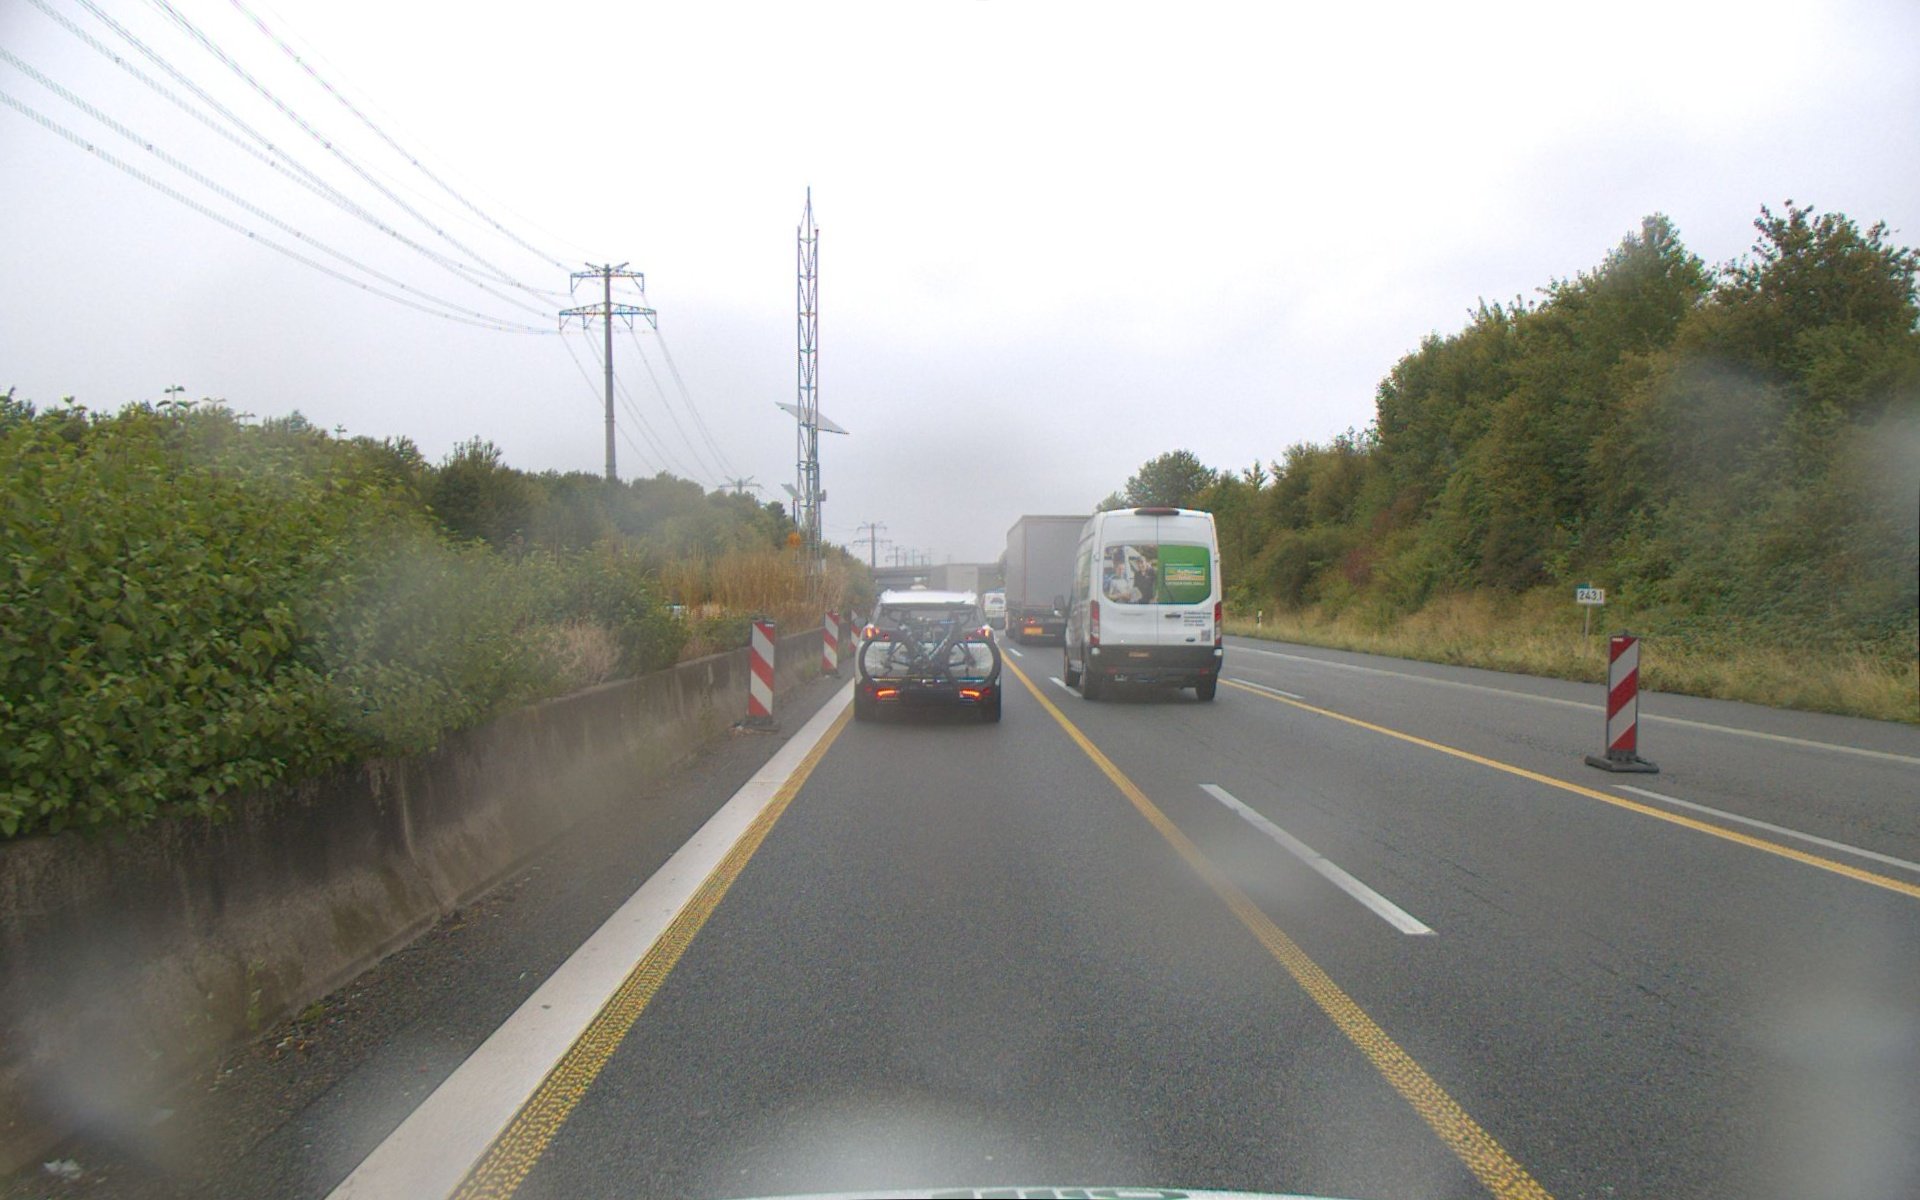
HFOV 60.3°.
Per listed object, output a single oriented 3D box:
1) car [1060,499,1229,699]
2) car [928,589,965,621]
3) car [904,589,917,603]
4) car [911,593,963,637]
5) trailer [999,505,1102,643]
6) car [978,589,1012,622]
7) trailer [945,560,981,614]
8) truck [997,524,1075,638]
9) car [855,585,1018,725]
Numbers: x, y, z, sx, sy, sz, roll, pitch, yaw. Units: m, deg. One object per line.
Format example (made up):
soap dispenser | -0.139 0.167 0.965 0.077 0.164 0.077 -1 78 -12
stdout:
car | 2.796 -0.025 26.388 1.953 2.831 5.755 0 0 -1
car | -0.709 0.246 83.439 1.812 1.557 3.999 0 0 -1
car | -7.721 -0.631 257.148 1.892 2.008 4.000 0 1 -1
car | -0.840 0.535 60.321 1.812 1.557 3.999 0 0 -1
trailer | 2.932 -0.810 57.581 2.651 4.218 13.729 0 0 -1
car | 2.020 0.308 97.263 1.792 1.871 4.654 0 0 -1
trailer | 0.168 -0.998 134.123 2.638 4.148 13.630 0 0 -1
truck | 2.881 -0.711 64.343 2.651 4.211 5.689 0 0 -1
car | -0.305 0.614 20.836 1.812 1.557 4.767 0 0 -1
